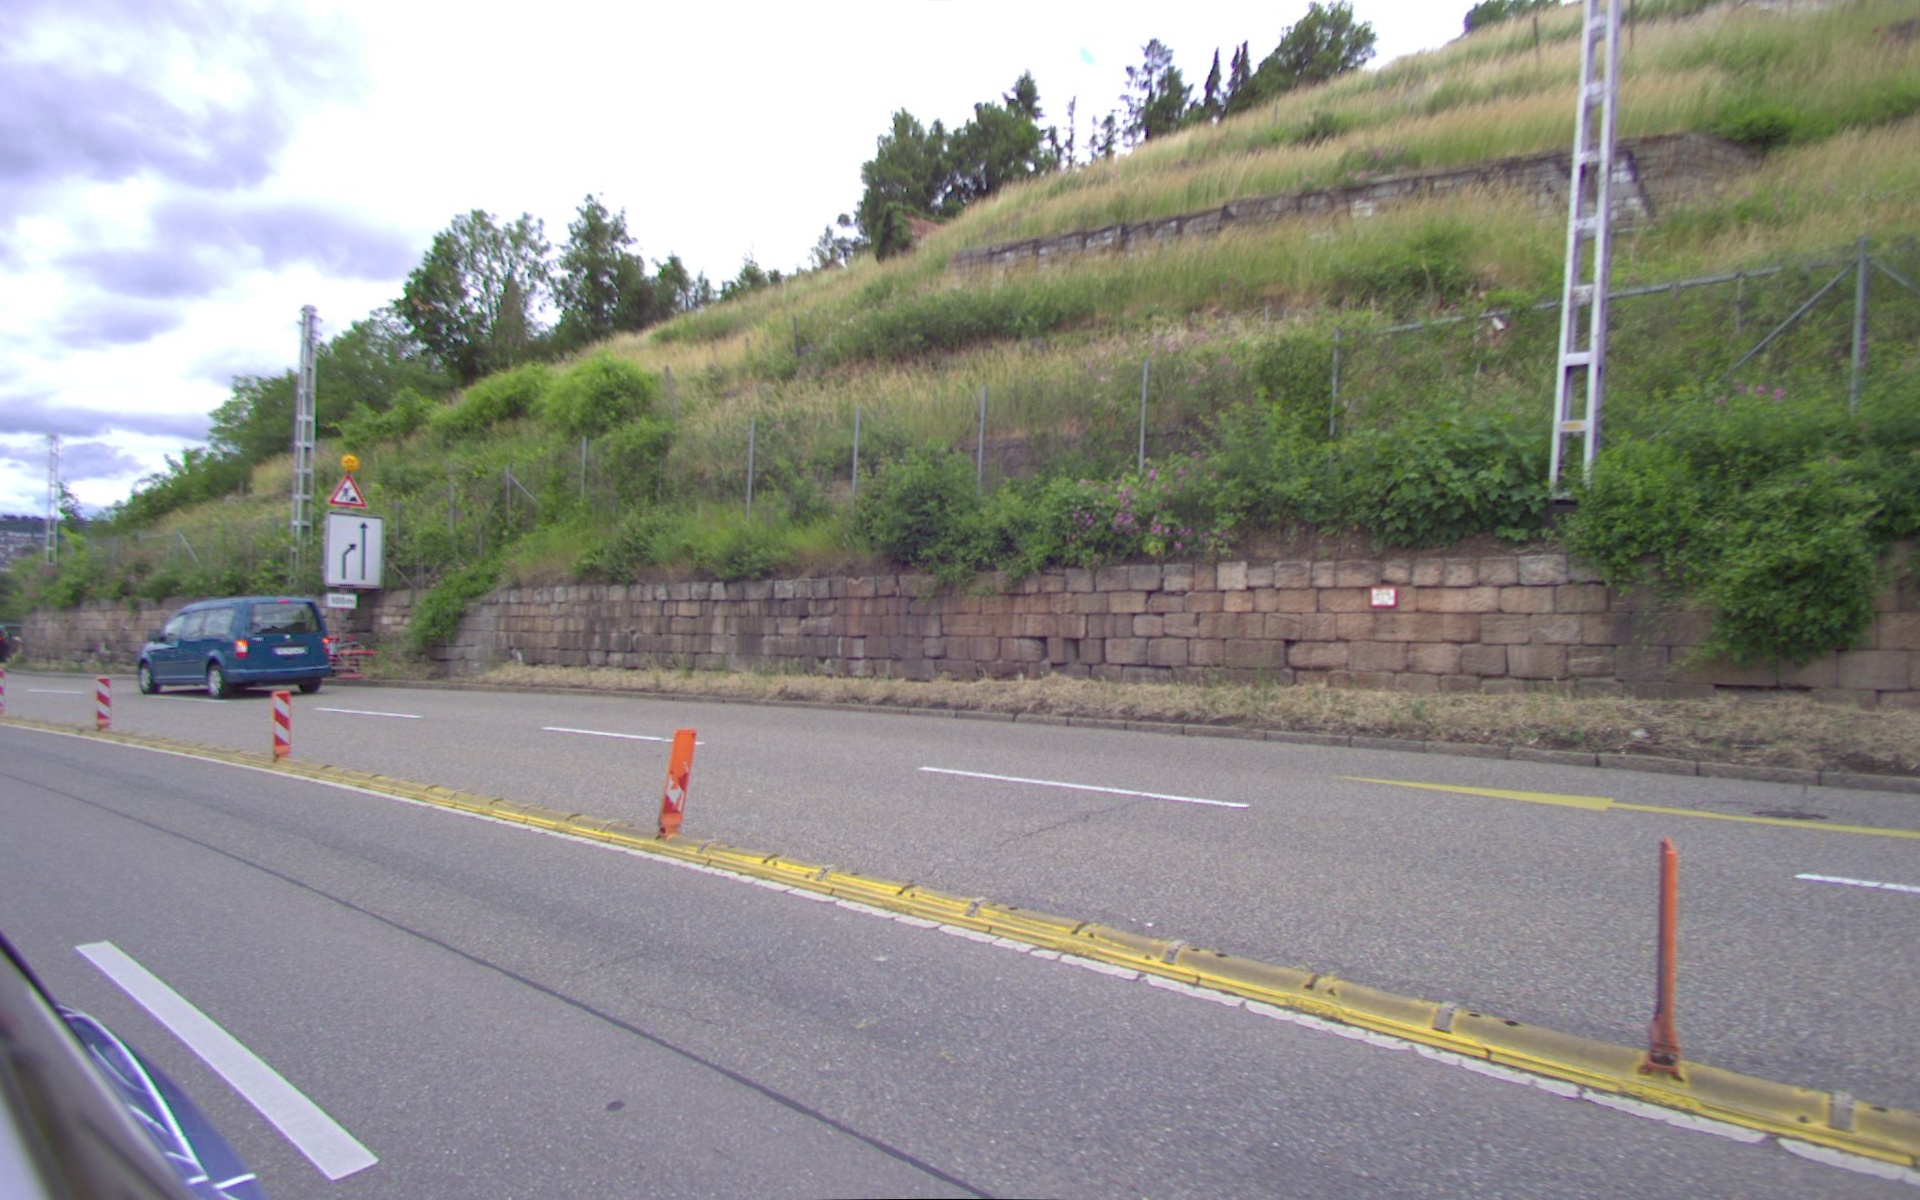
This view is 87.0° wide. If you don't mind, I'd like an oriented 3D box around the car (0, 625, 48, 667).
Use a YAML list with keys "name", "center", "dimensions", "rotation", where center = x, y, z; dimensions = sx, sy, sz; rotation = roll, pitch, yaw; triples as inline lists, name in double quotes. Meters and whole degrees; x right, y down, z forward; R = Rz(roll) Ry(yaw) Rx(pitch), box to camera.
- name: "car"
  center: [-49.912, 2.394, 53.386]
  dimensions: [2.119, 2.031, 4.975]
  rotation: [2, -1, -36]

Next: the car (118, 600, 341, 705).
- name: "car"
  center: [-14.264, 0.978, 19.691]
  dimensions: [4.717, 1.796, 1.837]
  rotation: [-2, 0, 31]
